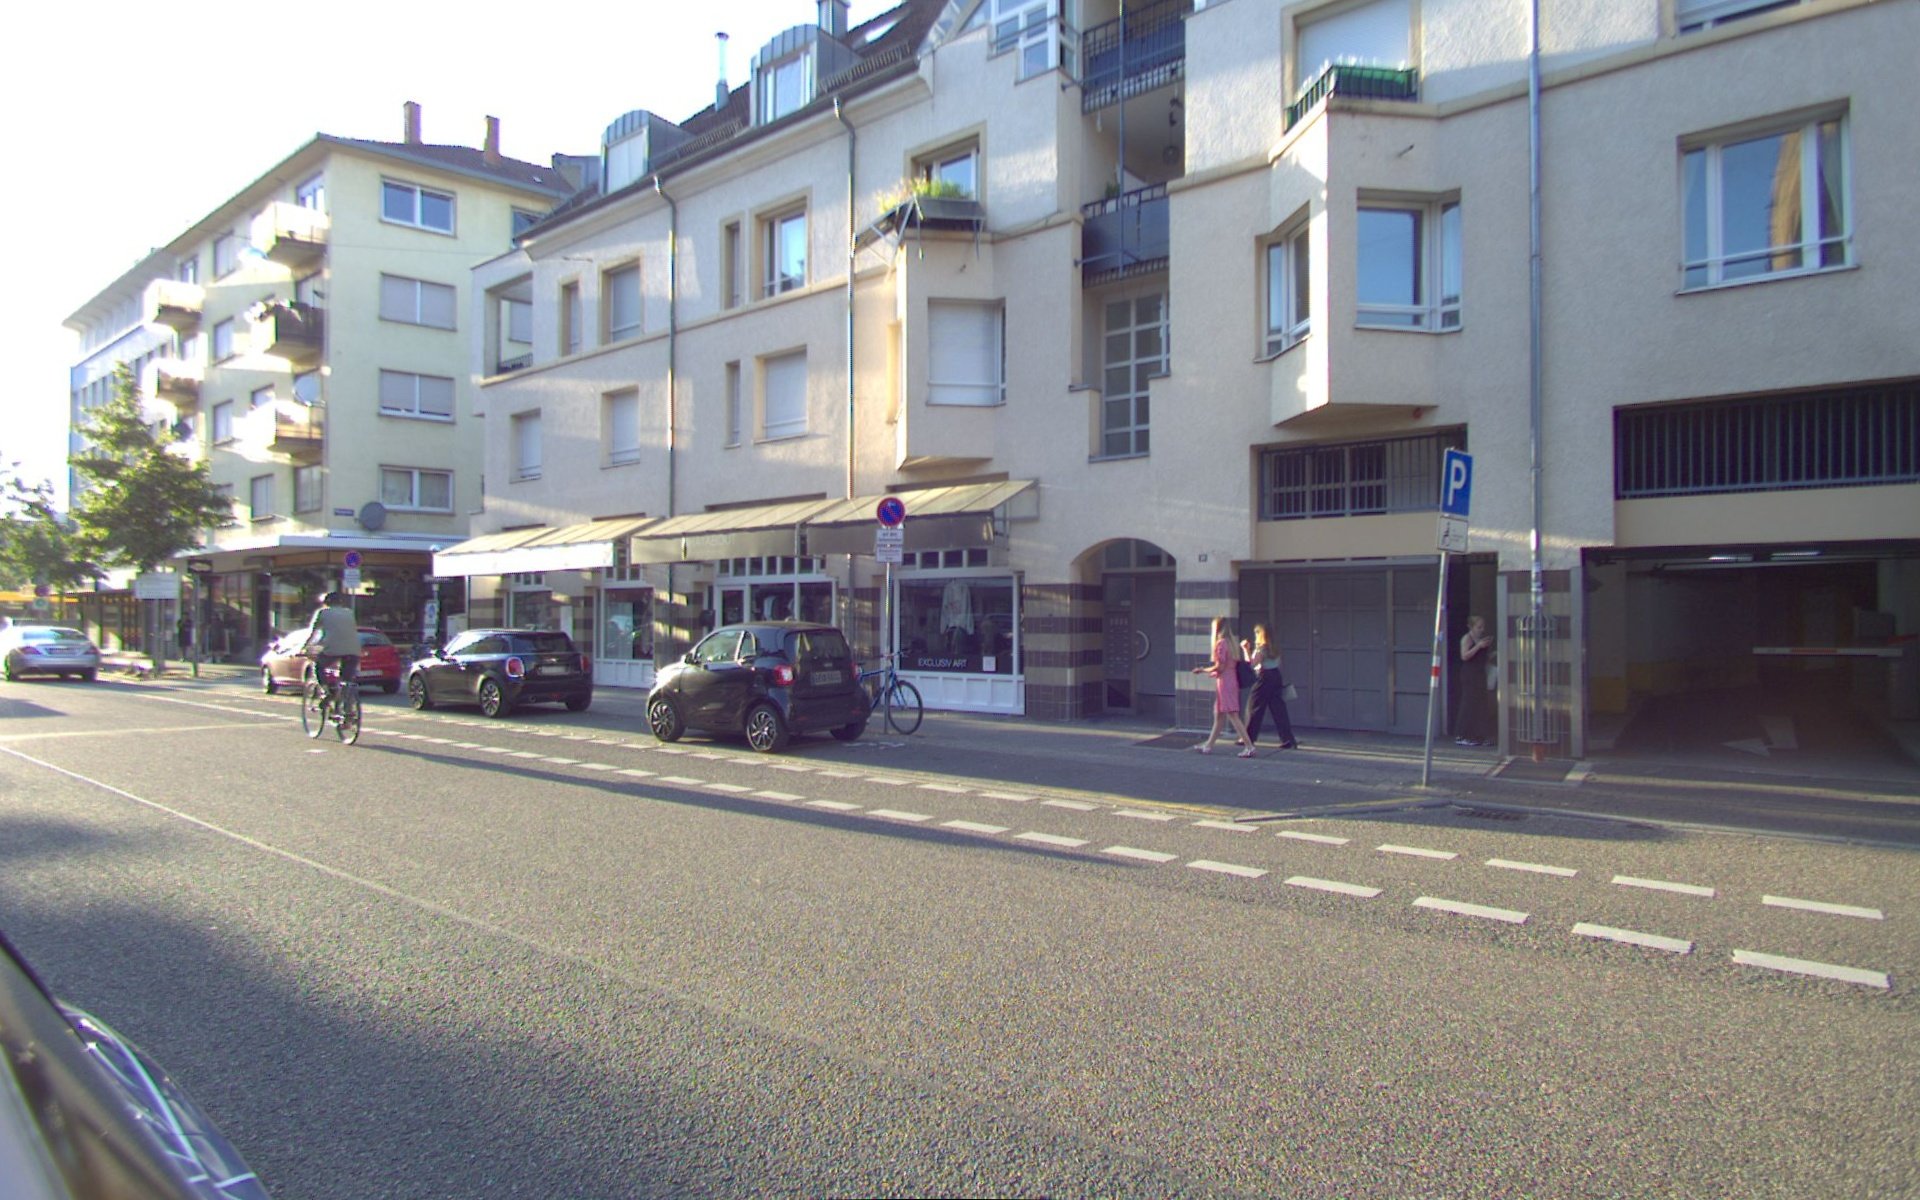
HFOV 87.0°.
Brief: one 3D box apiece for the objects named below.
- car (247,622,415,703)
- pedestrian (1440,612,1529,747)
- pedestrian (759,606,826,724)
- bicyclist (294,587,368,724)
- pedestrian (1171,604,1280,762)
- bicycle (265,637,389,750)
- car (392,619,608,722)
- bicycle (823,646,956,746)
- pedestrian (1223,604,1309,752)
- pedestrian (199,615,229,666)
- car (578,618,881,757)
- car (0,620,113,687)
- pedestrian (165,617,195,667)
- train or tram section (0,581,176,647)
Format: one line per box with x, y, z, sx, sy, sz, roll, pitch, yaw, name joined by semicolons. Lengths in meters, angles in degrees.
-13.509;1.271;21.683;3.779;1.592;1.773;-1;-2;36;car
6.299;0.938;12.176;0.768;1.584;0.533;0;-2;2;pedestrian
-2.569;0.964;15.512;0.737;1.747;0.711;-1;-1;38;pedestrian
-7.647;0.659;12.295;0.802;1.593;0.541;-1;-2;41;bicyclist
3.027;0.917;11.554;1.039;1.713;0.624;-1;-2;37;pedestrian
-7.785;1.098;12.401;2.129;1.252;0.656;-1;-4;41;bicycle
-7.982;1.128;17.487;3.779;1.592;1.773;-1;-2;36;car
-0.980;1.258;13.706;1.976;1.215;0.552;-1;-2;41;bicycle
3.670;0.909;12.154;0.830;1.713;0.554;-1;-2;37;pedestrian
-26.701;1.427;36.232;0.666;1.805;0.711;-1;-1;39;pedestrian
-3.132;1.048;13.499;3.958;1.592;1.773;-1;-2;36;car
-24.454;1.384;26.915;4.397;1.617;1.975;-1;-3;37;car
-28.609;1.525;37.125;0.666;1.805;0.711;-1;-1;39;pedestrian
-56.461;0.835;64.239;3.110;3.839;11.816;-1;0;8;train or tram section
